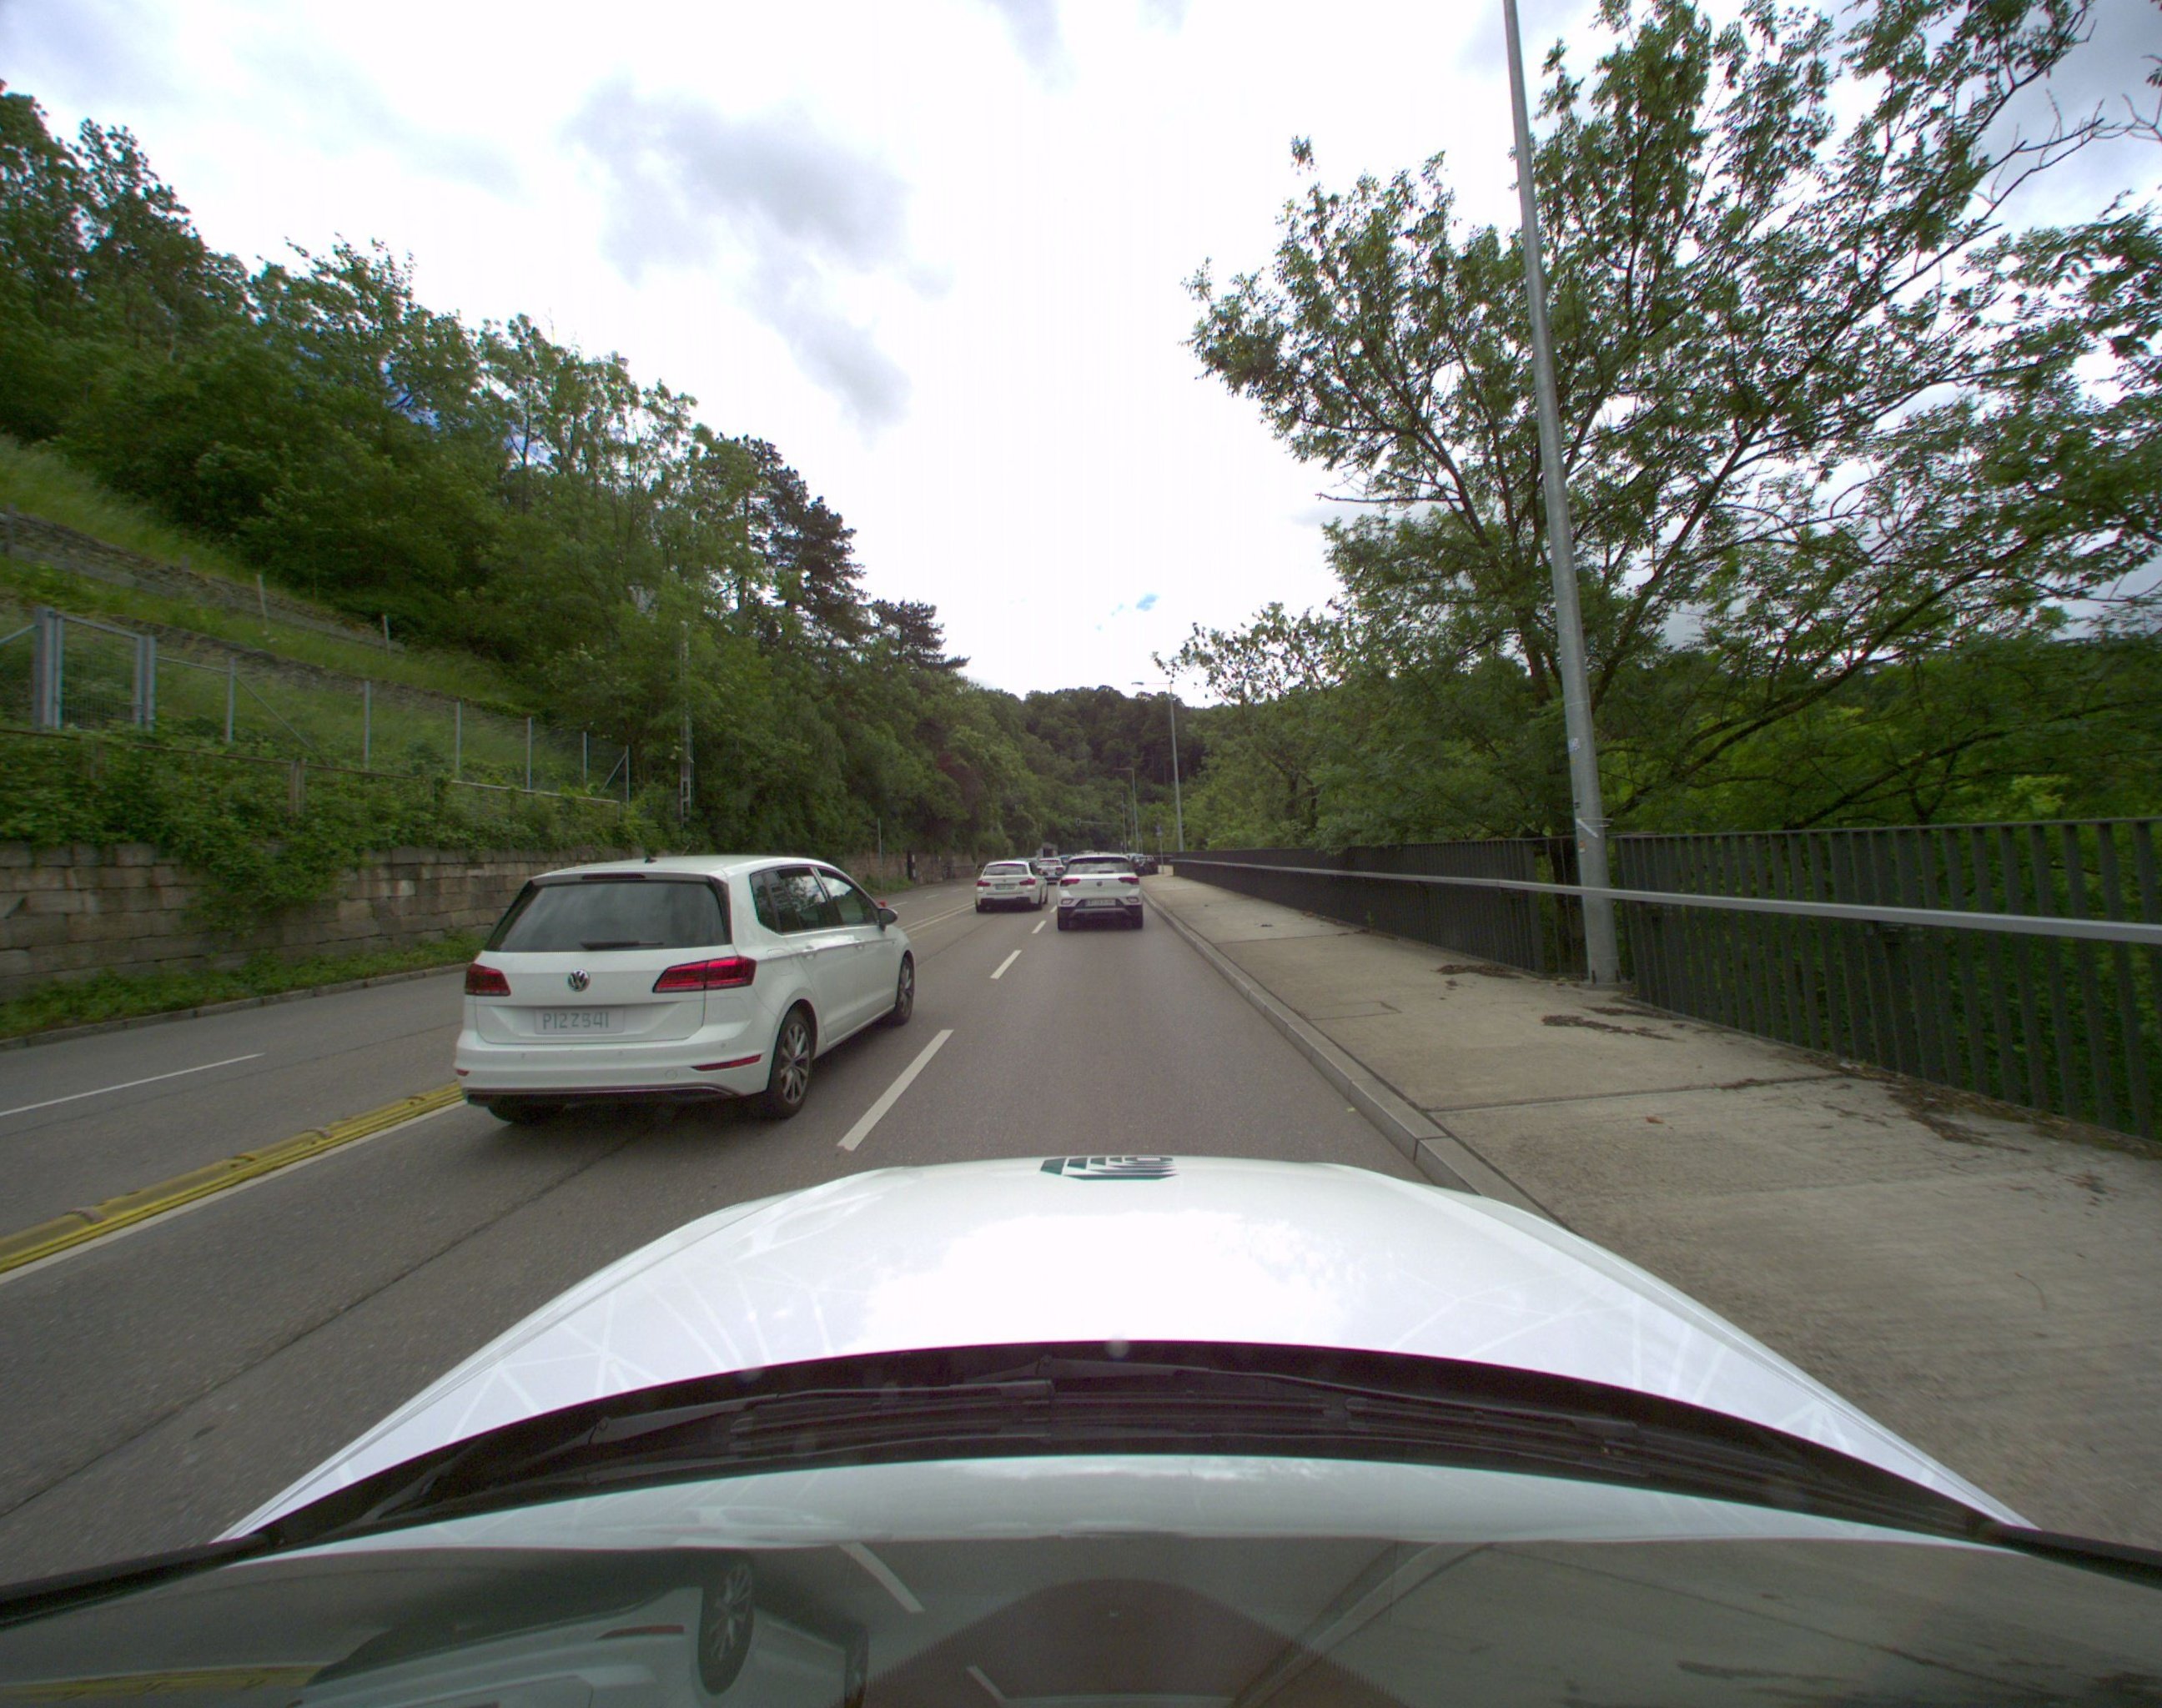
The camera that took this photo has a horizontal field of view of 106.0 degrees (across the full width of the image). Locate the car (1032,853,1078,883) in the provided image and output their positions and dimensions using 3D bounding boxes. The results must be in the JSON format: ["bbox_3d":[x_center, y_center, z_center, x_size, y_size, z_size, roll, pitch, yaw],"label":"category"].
[{"bbox_3d":[-1.379,0.784,45.486,1.984,1.503,4.673,-3,-1,4],"label":"car"}]

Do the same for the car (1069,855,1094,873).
[{"bbox_3d":[0.100,0.932,75.793,1.985,1.503,4.671,-3,1,3],"label":"car"}]

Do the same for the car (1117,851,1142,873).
[{"bbox_3d":[4.045,0.663,68.748,1.986,1.718,4.115,-1,1,1],"label":"car"}]

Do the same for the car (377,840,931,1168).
[{"bbox_3d":[-2.540,0.764,6.245,1.814,1.580,4.357,-2,-1,1],"label":"car"}]

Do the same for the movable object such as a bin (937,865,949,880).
[{"bbox_3d":[-10.666,1.436,62.953,0.714,1.175,0.676,-2,0,1],"label":"movable object such as a bin"}]

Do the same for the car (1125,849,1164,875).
[{"bbox_3d":[3.964,0.498,51.504,1.812,1.508,3.993,-1,-1,-5],"label":"car"}]

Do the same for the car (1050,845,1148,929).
[{"bbox_3d":[0.518,0.679,18.000,1.819,1.606,4.006,-2,-1,5],"label":"car"}]

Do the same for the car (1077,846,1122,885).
[{"bbox_3d":[0.966,0.535,39.894,1.985,1.718,4.117,-4,0,3],"label":"car"}]

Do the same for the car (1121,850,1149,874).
[{"bbox_3d":[4.176,0.616,63.312,1.986,1.718,4.115,-1,1,1],"label":"car"}]

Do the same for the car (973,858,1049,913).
[{"bbox_3d":[-1.985,0.864,24.369,1.822,1.459,4.485,-2,0,0],"label":"car"}]
